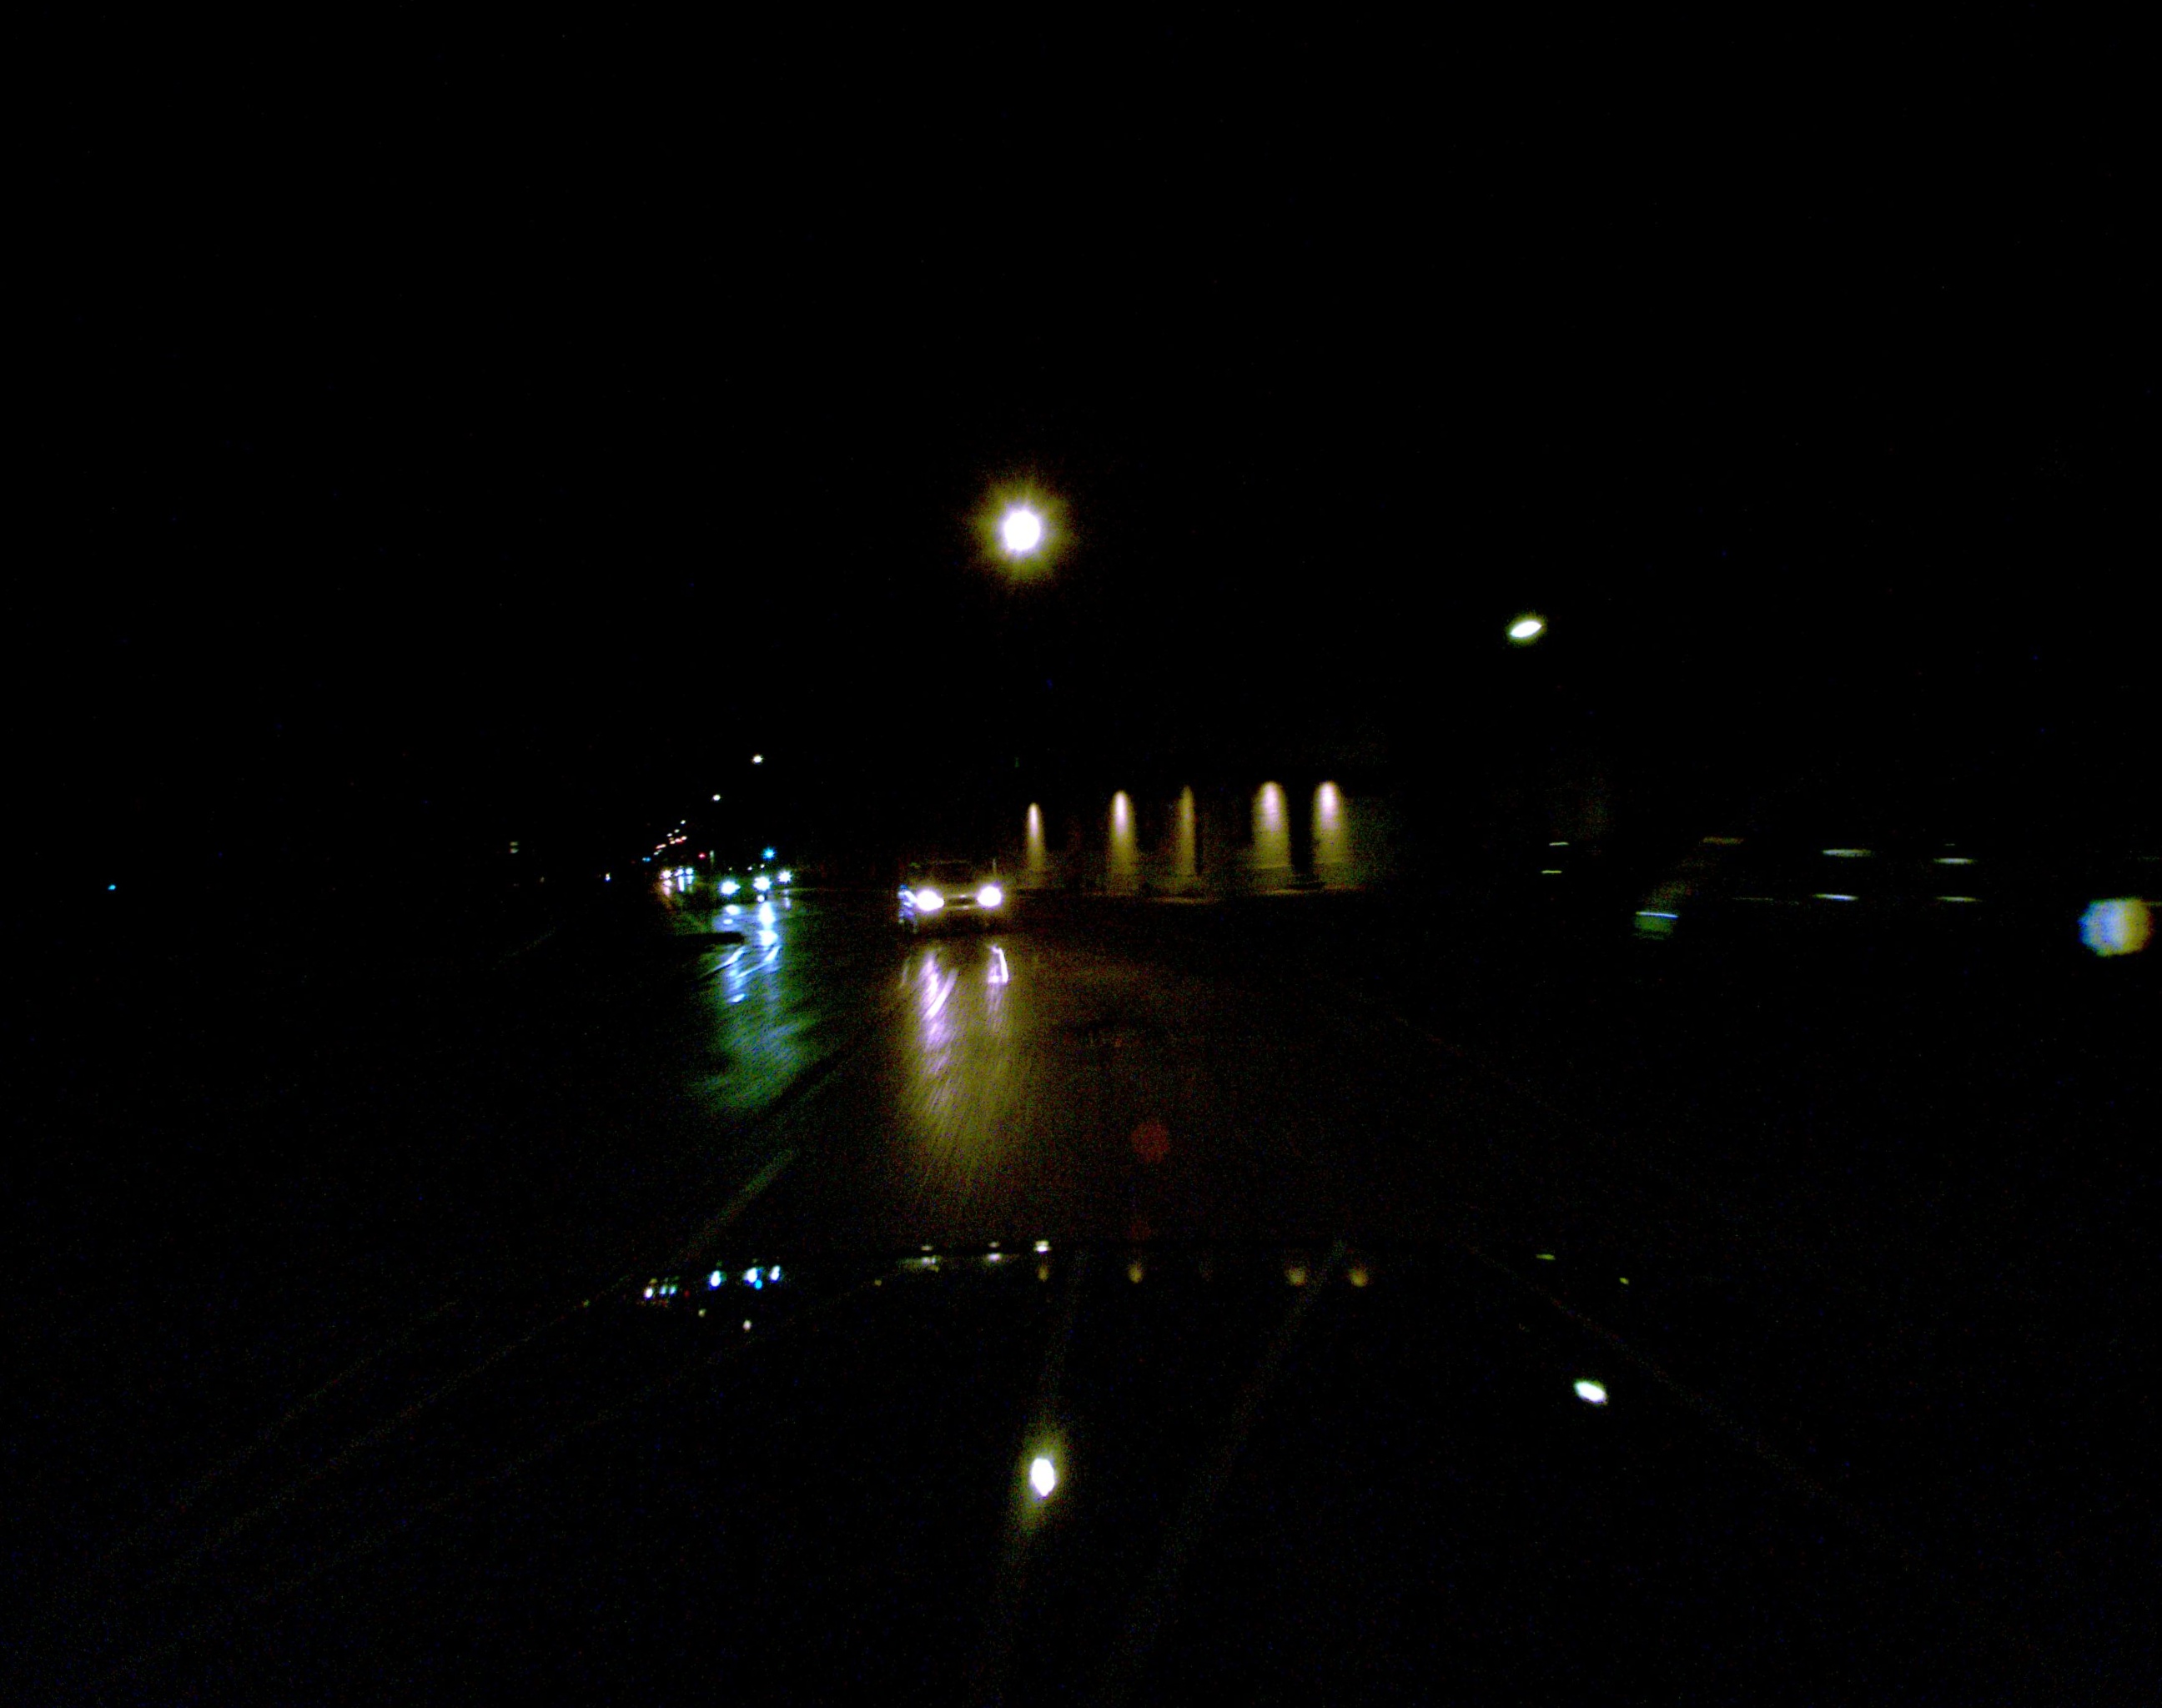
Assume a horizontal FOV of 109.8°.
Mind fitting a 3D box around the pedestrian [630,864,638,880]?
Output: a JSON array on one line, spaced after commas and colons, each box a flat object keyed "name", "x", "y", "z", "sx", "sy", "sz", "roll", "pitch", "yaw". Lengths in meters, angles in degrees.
[{"name": "pedestrian", "x": -45.026, "y": 1.810, "z": 76.598, "sx": 0.624, "sy": 1.629, "sz": 0.677, "roll": -3, "pitch": 2, "yaw": -30}]

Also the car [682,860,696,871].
[{"name": "car", "x": -62.522, "y": 1.877, "z": 121.189, "sx": 2.003, "sy": 1.626, "sz": 3.991, "roll": -2, "pitch": 1, "yaw": -27}]

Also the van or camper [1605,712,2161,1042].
[{"name": "van or camper", "x": 8.815, "y": 0.175, "z": 7.009, "sx": 2.169, "sy": 2.521, "sz": 6.211, "roll": 0, "pitch": 0, "yaw": -31}]

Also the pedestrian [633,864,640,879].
[{"name": "pedestrian", "x": -45.471, "y": 1.823, "z": 77.720, "sx": 0.575, "sy": 1.525, "sz": 0.632, "roll": -3, "pitch": 2, "yaw": -30}]

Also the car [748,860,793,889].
[{"name": "car", "x": -17.825, "y": 1.145, "z": 43.556, "sx": 1.733, "sy": 1.455, "sz": 3.990, "roll": -3, "pitch": 2, "yaw": -31}]

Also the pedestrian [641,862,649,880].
[{"name": "pedestrian", "x": -44.420, "y": 1.709, "z": 77.358, "sx": 0.624, "sy": 1.801, "sz": 0.757, "roll": -3, "pitch": 2, "yaw": -30}]

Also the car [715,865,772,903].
[{"name": "car", "x": -14.943, "y": 1.252, "z": 33.495, "sx": 1.732, "sy": 1.422, "sz": 4.487, "roll": -4, "pitch": 2, "yaw": -30}]

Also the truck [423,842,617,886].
[{"name": "truck", "x": -61.241, "y": 0.936, "z": 83.887, "sx": 16.858, "sy": 3.962, "sz": 3.124, "roll": -3, "pitch": 2, "yaw": -30}]

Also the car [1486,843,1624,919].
[{"name": "car", "x": 10.745, "y": 0.554, "z": 17.204, "sx": 2.823, "sy": 1.505, "sz": 1.485, "roll": -3, "pitch": 2, "yaw": -30}]

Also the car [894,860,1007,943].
[{"name": "car", "x": -2.902, "y": 0.902, "z": 16.240, "sx": 1.637, "sy": 1.430, "sz": 3.833, "roll": -4, "pitch": 1, "yaw": -20}]

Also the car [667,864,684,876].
[{"name": "car", "x": -49.419, "y": 1.916, "z": 92.665, "sx": 1.622, "sy": 1.259, "sz": 3.619, "roll": -4, "pitch": 2, "yaw": -27}]
